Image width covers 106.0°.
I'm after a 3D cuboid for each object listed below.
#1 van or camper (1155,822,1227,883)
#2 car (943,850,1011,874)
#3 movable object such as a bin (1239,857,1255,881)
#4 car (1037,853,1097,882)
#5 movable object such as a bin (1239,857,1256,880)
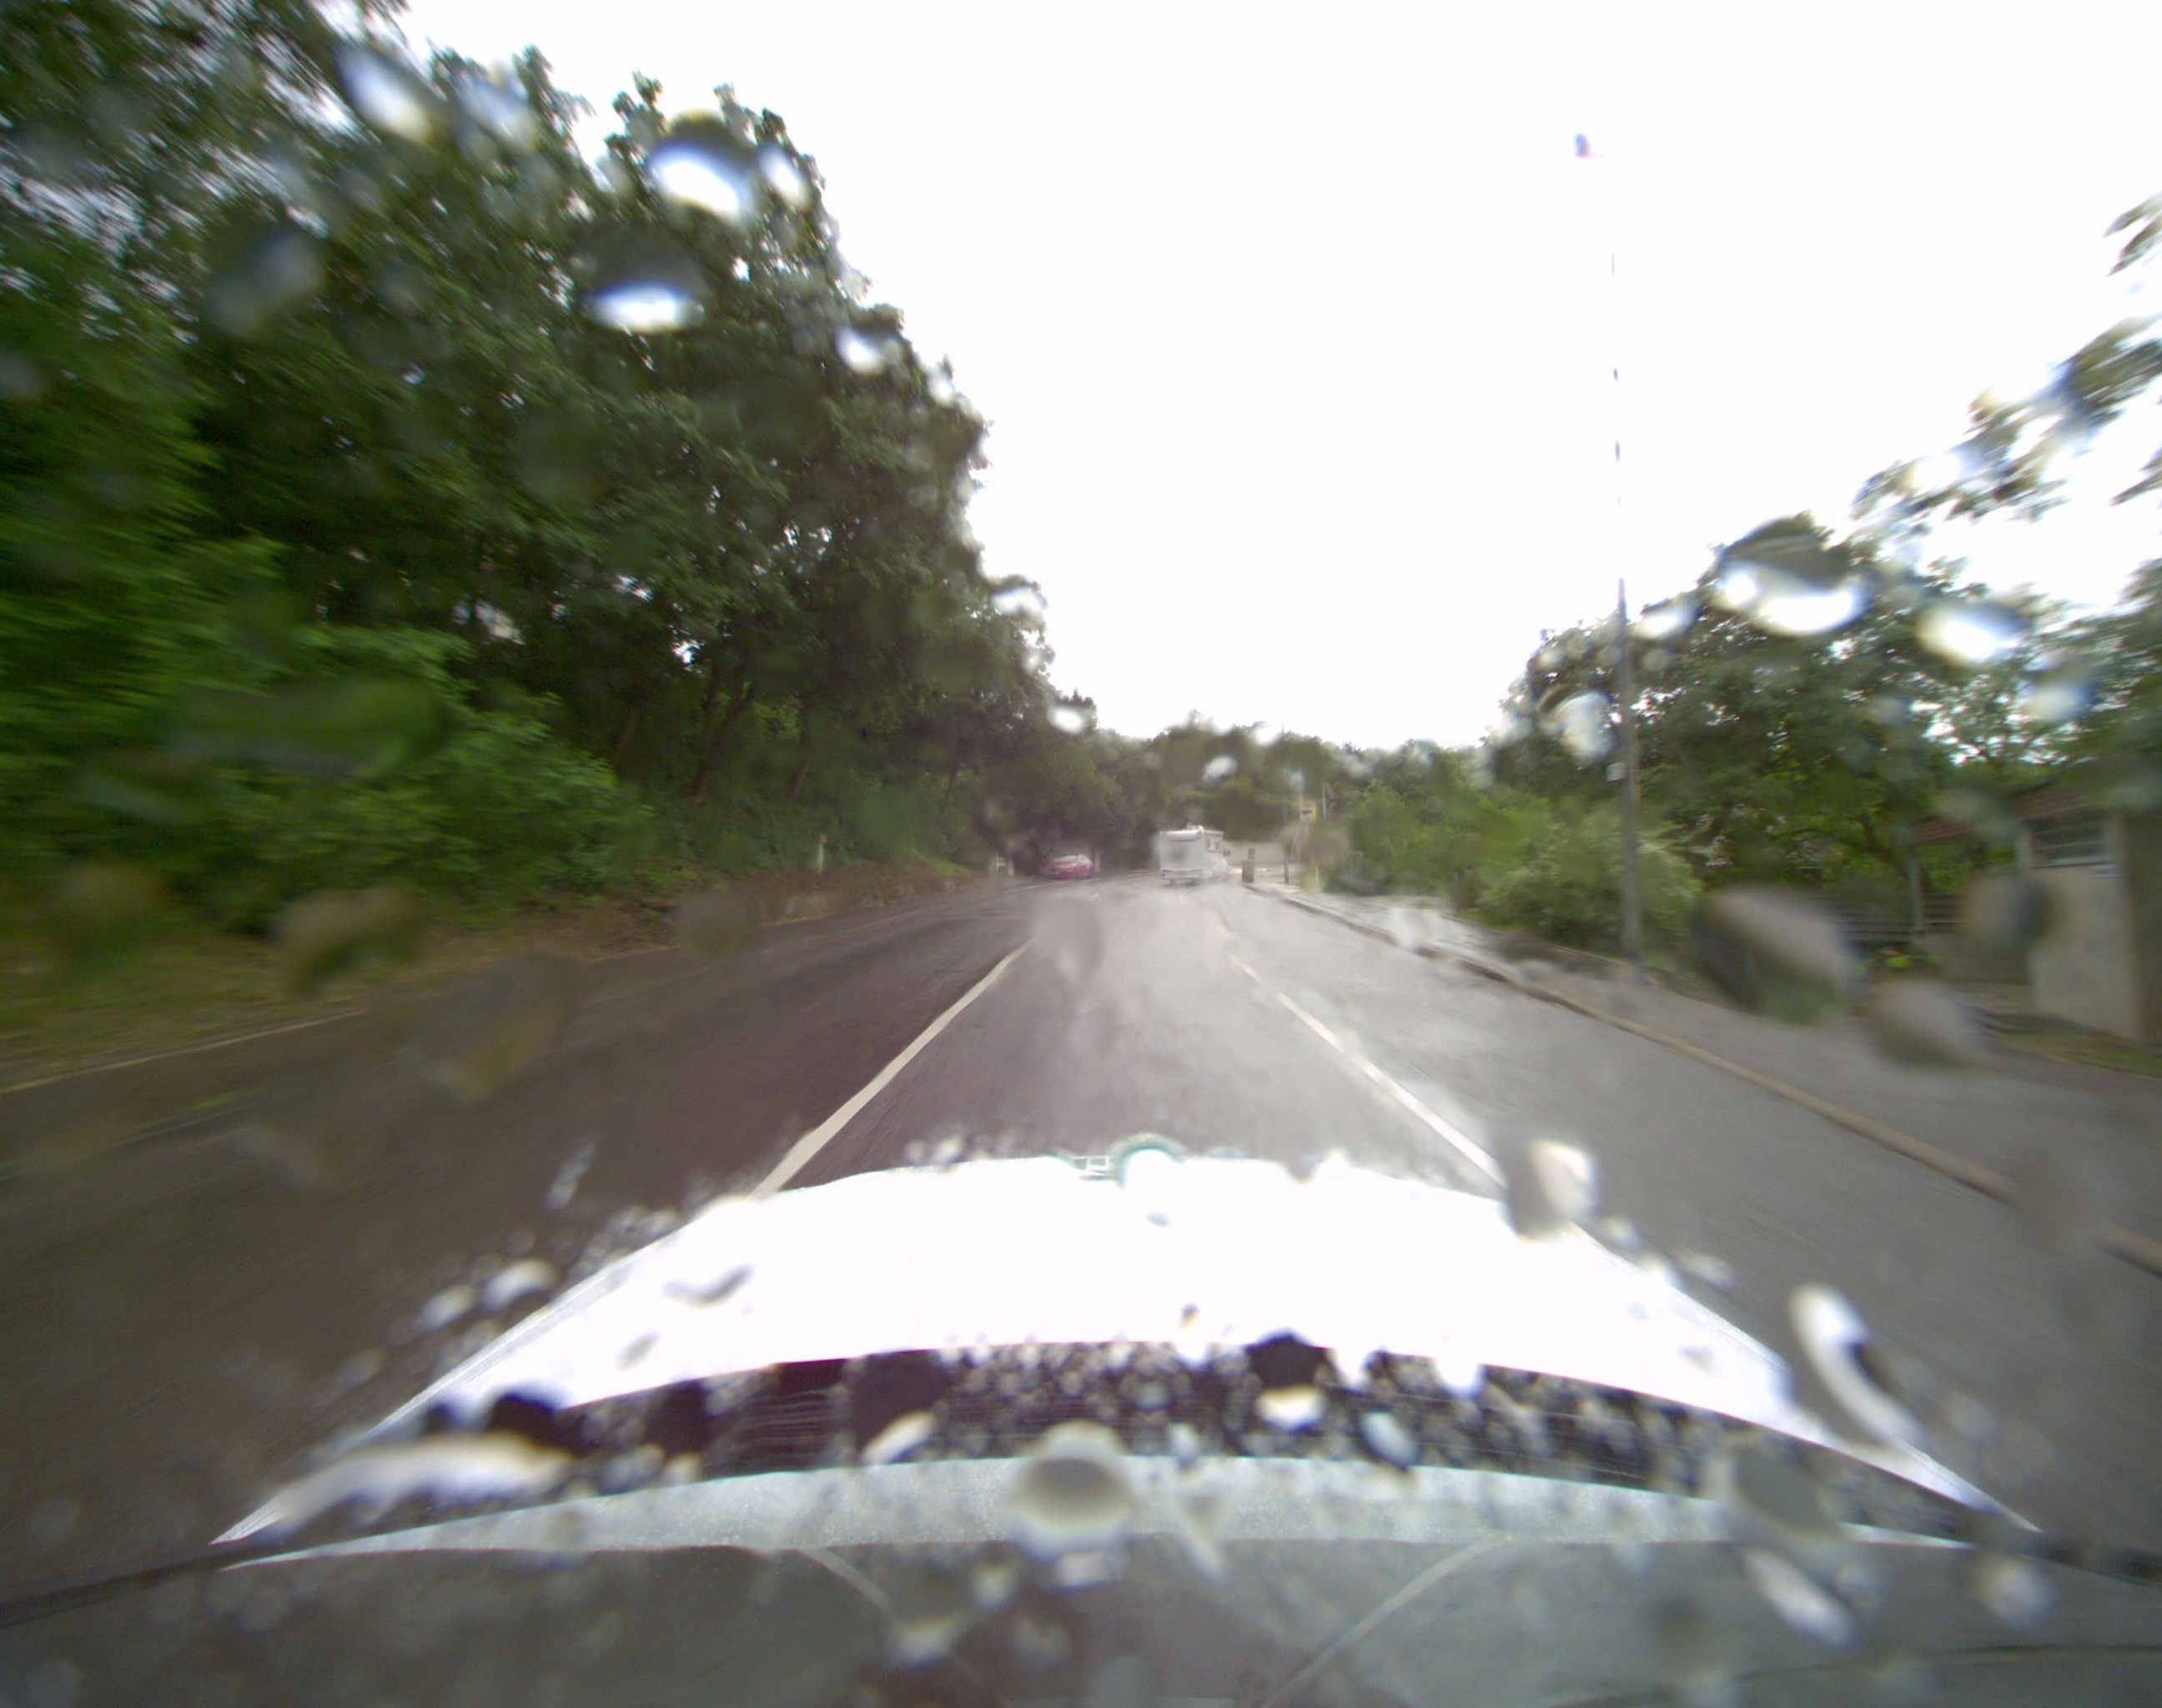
[{"bbox_3d":[5.792,-0.086,42.061,2.519,2.925,5.976,-1,0,19],"label":"van or camper"},{"bbox_3d":[-6.890,0.528,54.033,3.954,1.503,1.888,-1,0,19],"label":"car"},{"bbox_3d":[7.976,0.713,39.151,0.773,1.133,0.740,-1,0,10],"label":"movable object such as a bin"},{"bbox_3d":[-0.738,0.762,47.892,1.977,1.561,4.676,0,0,20],"label":"car"},{"bbox_3d":[8.263,0.735,40.464,0.773,1.133,0.740,-1,0,10],"label":"movable object such as a bin"}]
